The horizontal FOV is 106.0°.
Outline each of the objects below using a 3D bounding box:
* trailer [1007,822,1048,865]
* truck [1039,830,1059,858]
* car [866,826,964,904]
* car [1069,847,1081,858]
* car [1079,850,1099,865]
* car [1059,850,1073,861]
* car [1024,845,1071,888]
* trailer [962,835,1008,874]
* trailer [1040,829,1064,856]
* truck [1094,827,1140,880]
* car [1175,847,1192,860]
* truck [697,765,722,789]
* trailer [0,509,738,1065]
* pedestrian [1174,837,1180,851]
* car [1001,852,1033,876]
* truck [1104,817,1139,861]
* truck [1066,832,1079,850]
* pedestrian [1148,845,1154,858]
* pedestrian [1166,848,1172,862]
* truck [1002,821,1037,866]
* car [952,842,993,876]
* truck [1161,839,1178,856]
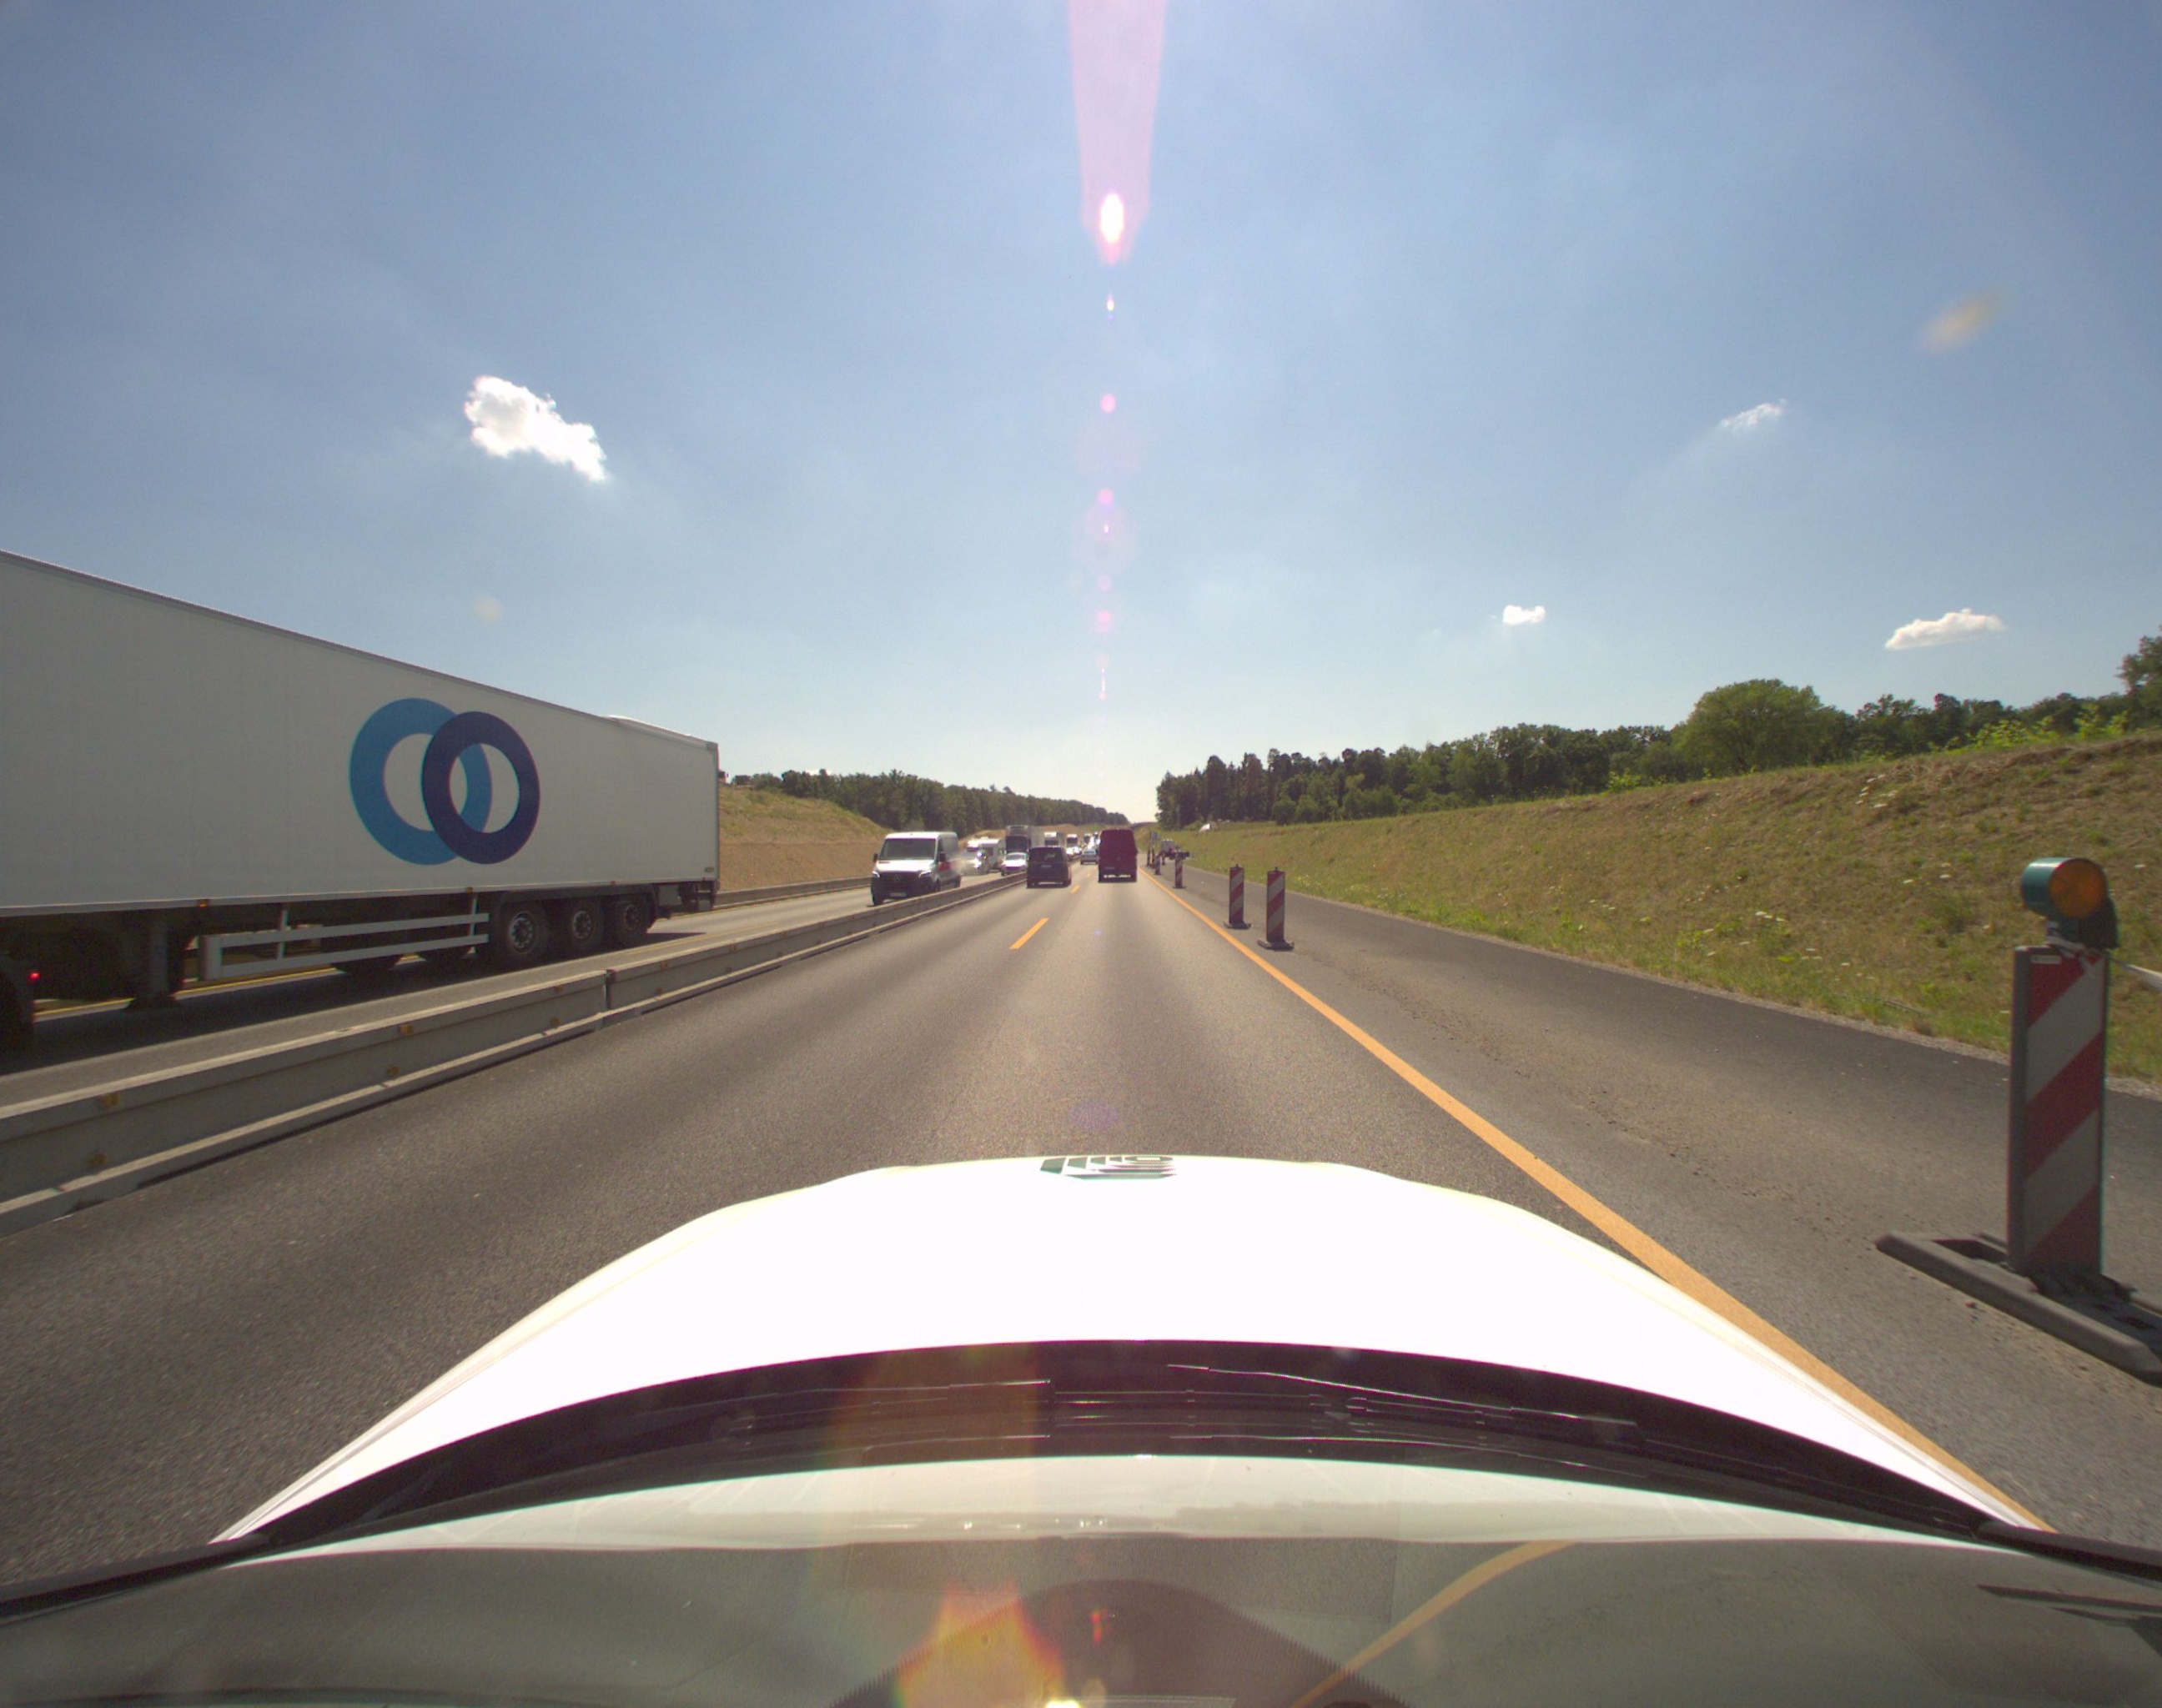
[{"bbox_3d":[-5.673,-1.081,88.866,2.492,4.179,15.545,-2,0,3],"label":"trailer"},{"bbox_3d":[-4.839,-1.490,123.347,2.582,4.053,5.151,0,0,1],"label":"truck"},{"bbox_3d":[-5.342,0.346,26.952,1.986,2.292,5.345,0,0,2],"label":"car"},{"bbox_3d":[-0.998,-0.263,133.566,1.769,1.555,4.141,-3,0,1],"label":"car"},{"bbox_3d":[0.851,0.378,83.168,1.824,1.522,3.963,0,0,2],"label":"car"},{"bbox_3d":[-2.040,0.196,113.615,1.801,1.488,4.244,0,0,2],"label":"car"},{"bbox_3d":[-1.450,0.503,37.424,1.744,1.824,4.786,0,1,2],"label":"car"},{"bbox_3d":[-7.108,0.029,61.153,2.302,2.686,6.759,-2,0,2],"label":"trailer"},{"bbox_3d":[-4.567,-1.793,130.300,2.642,3.938,14.005,0,0,2],"label":"trailer"},{"bbox_3d":[1.814,-0.020,42.724,2.146,2.590,5.332,0,0,0],"label":"truck"},{"bbox_3d":[12.989,-0.053,103.370,1.647,1.426,4.549,-3,1,3],"label":"car"},{"bbox_3d":[-58.373,-12.015,127.949,2.371,2.898,8.280,0,-1,-33],"label":"truck"},{"bbox_3d":[-9.161,-0.431,10.766,2.843,4.093,13.660,-2,0,2],"label":"trailer"},{"bbox_3d":[12.623,-1.288,106.576,0.624,1.828,0.640,0,1,-10],"label":"pedestrian"},{"bbox_3d":[-4.167,0.623,53.578,1.682,1.502,3.978,0,0,2],"label":"car"},{"bbox_3d":[5.435,-1.863,110.969,4.383,5.496,16.613,0,0,2],"label":"truck"},{"bbox_3d":[-1.923,-2.943,184.611,2.757,4.044,4.947,0,0,3],"label":"truck"},{"bbox_3d":[10.142,-0.342,118.010,0.726,1.828,0.714,0,-1,-22],"label":"pedestrian"},{"bbox_3d":[11.127,0.133,102.920,0.642,1.828,0.555,0,1,-19],"label":"pedestrian"},{"bbox_3d":[-6.079,-1.031,81.354,2.481,4.198,5.917,-2,0,3],"label":"truck"},{"bbox_3d":[-7.317,0.343,55.407,1.986,2.155,4.867,0,0,2],"label":"car"},{"bbox_3d":[13.239,-0.991,121.618,2.117,2.456,5.941,0,1,9],"label":"truck"}]
